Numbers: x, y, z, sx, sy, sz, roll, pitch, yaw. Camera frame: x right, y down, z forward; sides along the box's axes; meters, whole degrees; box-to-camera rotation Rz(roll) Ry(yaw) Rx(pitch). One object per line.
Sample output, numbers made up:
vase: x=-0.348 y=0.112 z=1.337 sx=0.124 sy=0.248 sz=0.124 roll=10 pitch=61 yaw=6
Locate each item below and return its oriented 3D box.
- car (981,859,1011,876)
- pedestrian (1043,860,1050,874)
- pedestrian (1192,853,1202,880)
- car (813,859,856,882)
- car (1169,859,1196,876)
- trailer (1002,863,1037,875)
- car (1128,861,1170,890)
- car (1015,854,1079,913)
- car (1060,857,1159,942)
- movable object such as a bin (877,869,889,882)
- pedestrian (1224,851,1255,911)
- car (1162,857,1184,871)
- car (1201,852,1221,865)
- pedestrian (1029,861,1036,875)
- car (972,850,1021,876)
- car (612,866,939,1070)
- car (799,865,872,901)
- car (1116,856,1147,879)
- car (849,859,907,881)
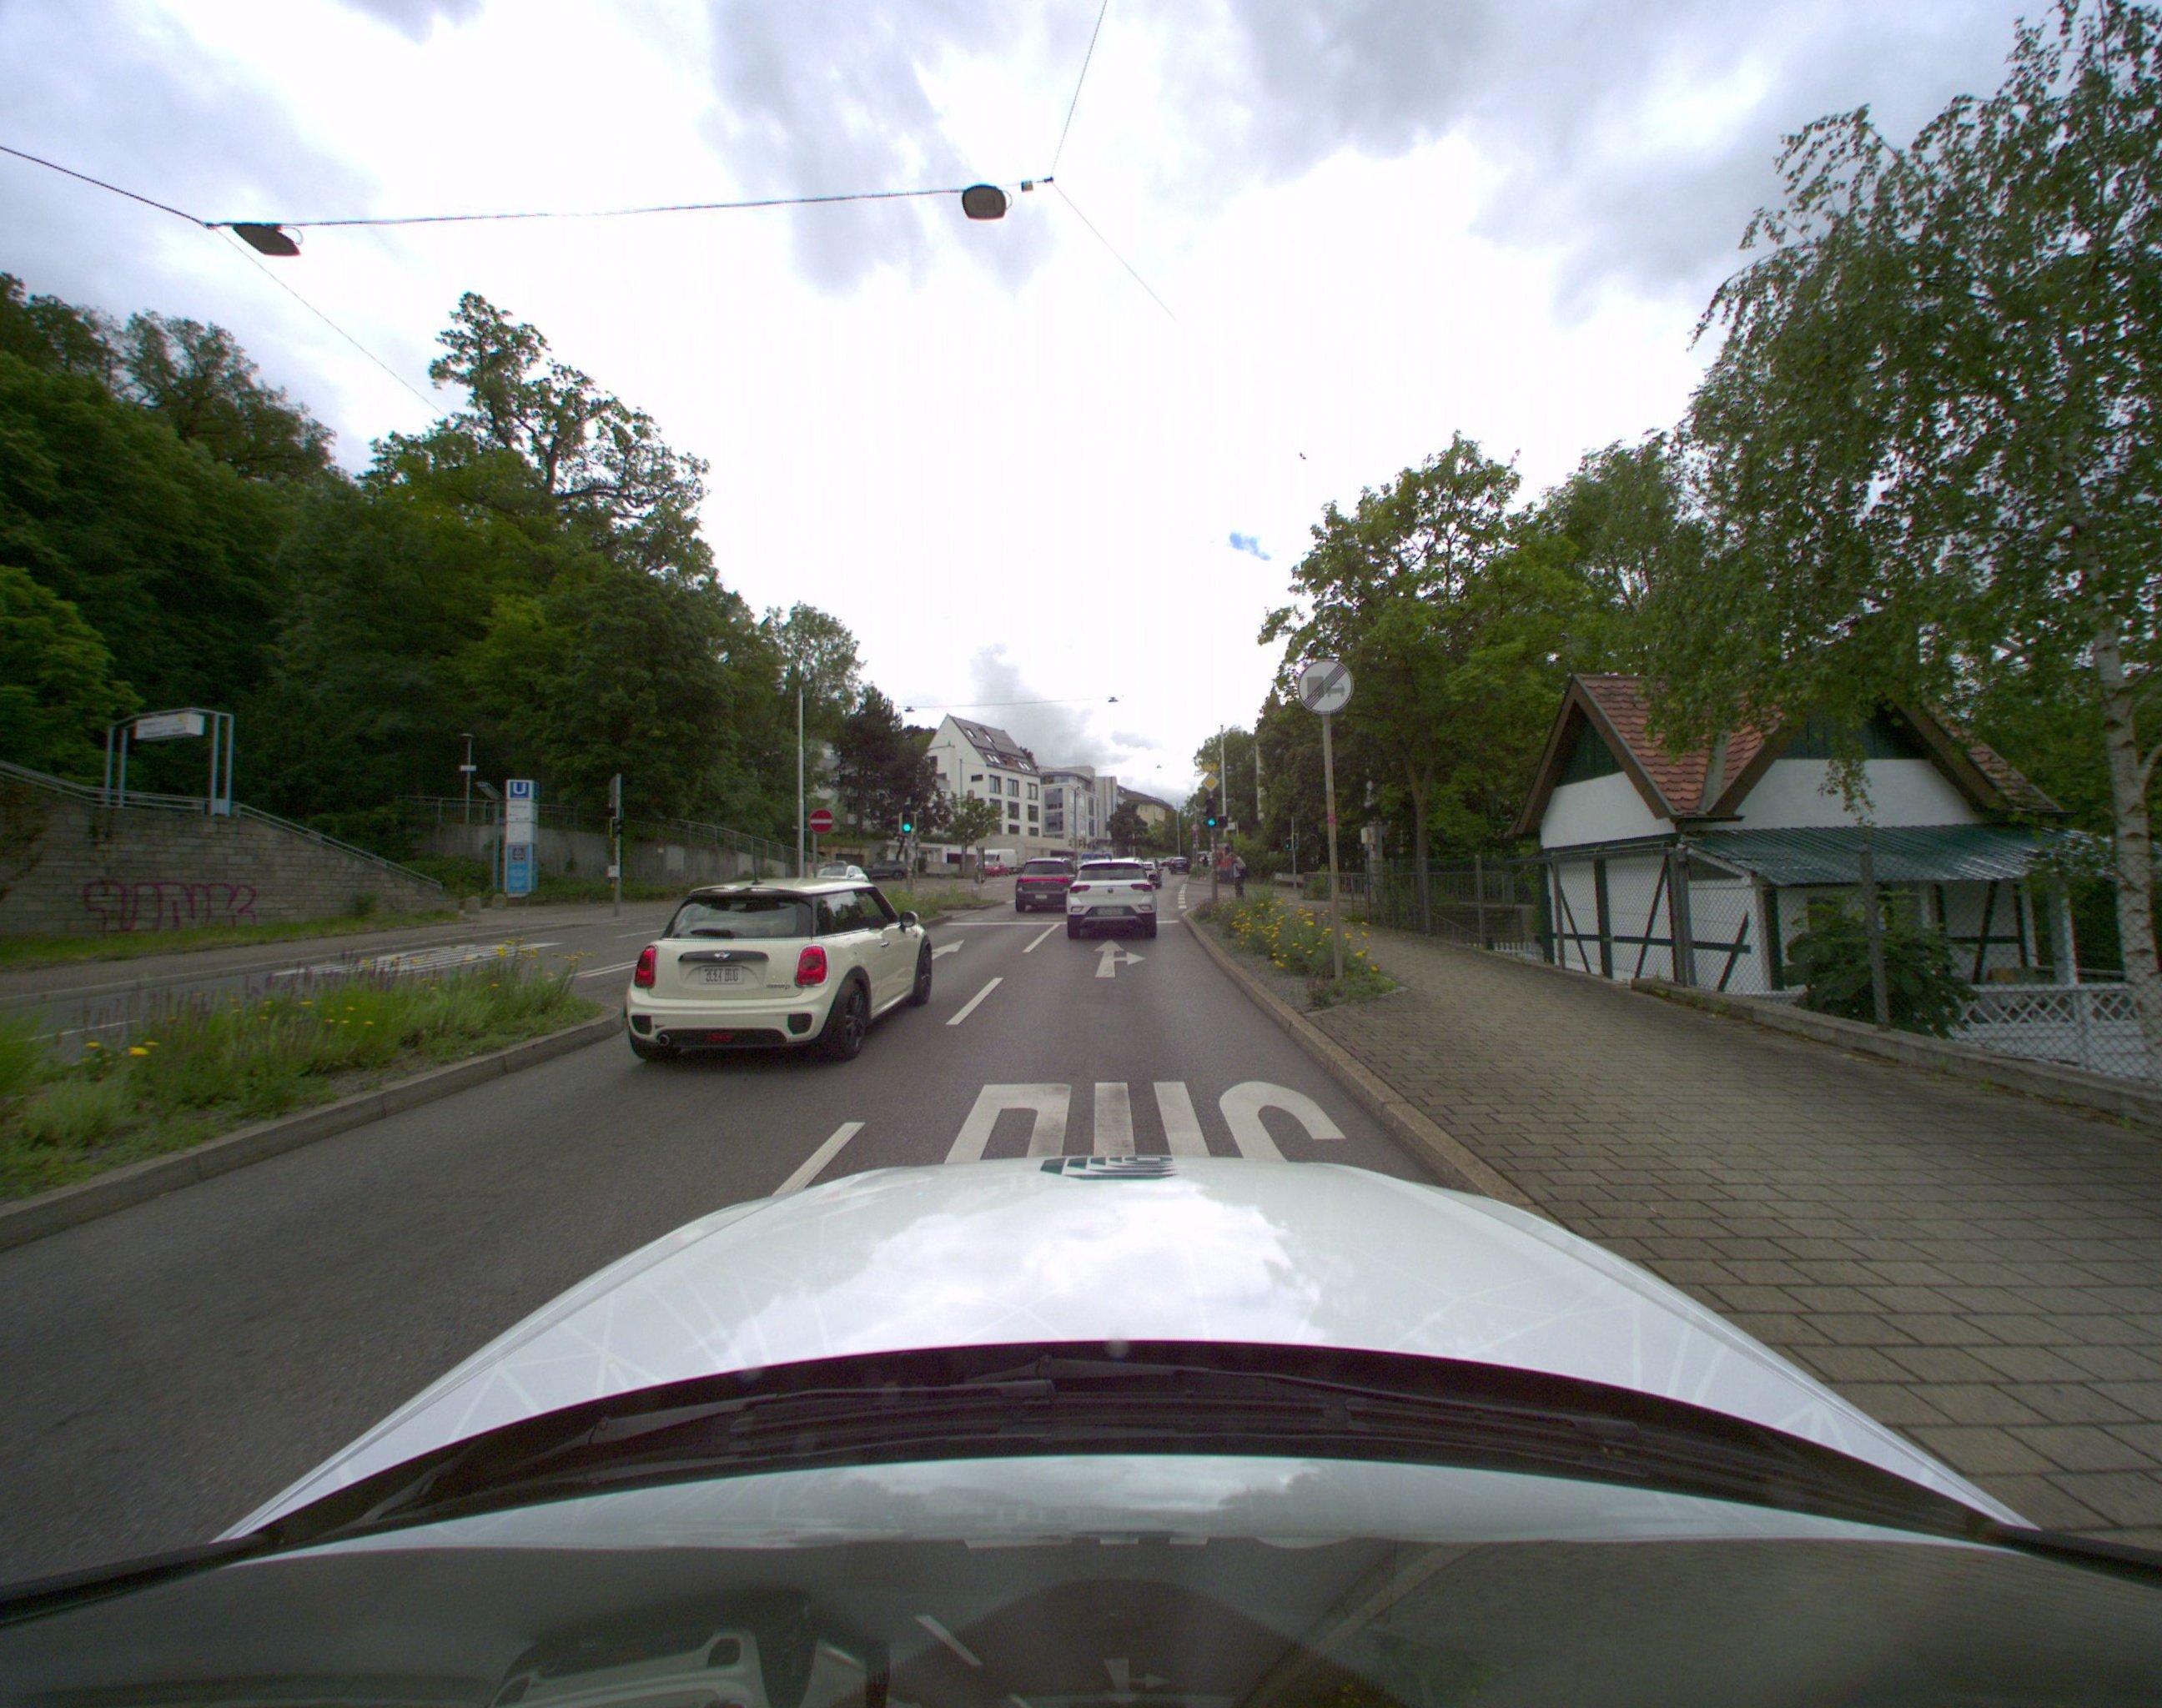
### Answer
car: x=-7.934 y=1.282 z=76.361 sx=1.610 sy=1.465 sz=3.941 roll=-2 pitch=0 yaw=13
pedestrian: x=-4.143 y=1.572 z=97.620 sx=0.678 sy=1.640 sz=0.665 roll=1 pitch=0 yaw=-31
pedestrian: x=7.905 y=0.839 z=55.613 sx=0.689 sy=1.834 sz=0.621 roll=0 pitch=-1 yaw=9
car: x=-17.165 y=1.188 z=56.801 sx=2.712 sy=1.520 sz=1.552 roll=2 pitch=-2 yaw=-22
car: x=9.565 y=1.238 z=76.489 sx=1.859 sy=1.501 sz=4.573 roll=1 pitch=0 yaw=15
trailer: x=-6.667 y=1.628 z=89.078 sx=2.228 sy=1.112 sz=4.643 roll=-2 pitch=0 yaw=17
car: x=3.832 y=1.159 z=45.365 sx=1.862 sy=1.501 sz=4.567 roll=2 pitch=0 yaw=10
car: x=-1.097 y=0.881 z=26.129 sx=1.808 sy=1.652 sz=4.631 roll=-2 pitch=0 yaw=-2
car: x=0.550 y=0.868 z=17.195 sx=1.806 sy=1.539 sz=3.689 roll=-2 pitch=0 yaw=0
movable object such as a bin: x=-16.570 y=1.789 z=68.229 sx=0.633 sy=1.012 sz=0.735 roll=0 pitch=-1 yaw=37
pedestrian: x=4.601 y=0.776 z=23.671 sx=0.687 sy=1.689 sz=0.623 roll=-3 pitch=-2 yaw=23
car: x=10.708 y=1.183 z=94.321 sx=1.844 sy=1.500 sz=4.072 roll=-2 pitch=0 yaw=15
car: x=16.241 y=0.585 z=101.670 sx=1.844 sy=1.500 sz=4.073 roll=-2 pitch=0 yaw=16
pedestrian: x=-5.669 y=1.622 z=95.181 sx=0.620 sy=1.640 sz=0.676 roll=0 pitch=0 yaw=24
car: x=-8.552 y=0.868 z=83.337 sx=2.214 sy=2.568 sz=7.456 roll=-2 pitch=0 yaw=17
car: x=-2.525 y=0.850 z=7.680 sx=1.622 sy=1.393 sz=3.567 roll=-2 pitch=0 yaw=1
car: x=-10.778 y=1.245 z=36.068 sx=1.711 sy=1.393 sz=4.609 roll=-2 pitch=0 yaw=1
car: x=3.997 y=1.037 z=63.450 sx=1.846 sy=1.652 sz=4.649 roll=-2 pitch=0 yaw=10
car: x=-15.200 y=1.210 z=61.138 sx=4.127 sy=1.540 sz=1.590 roll=-1 pitch=0 yaw=-16
